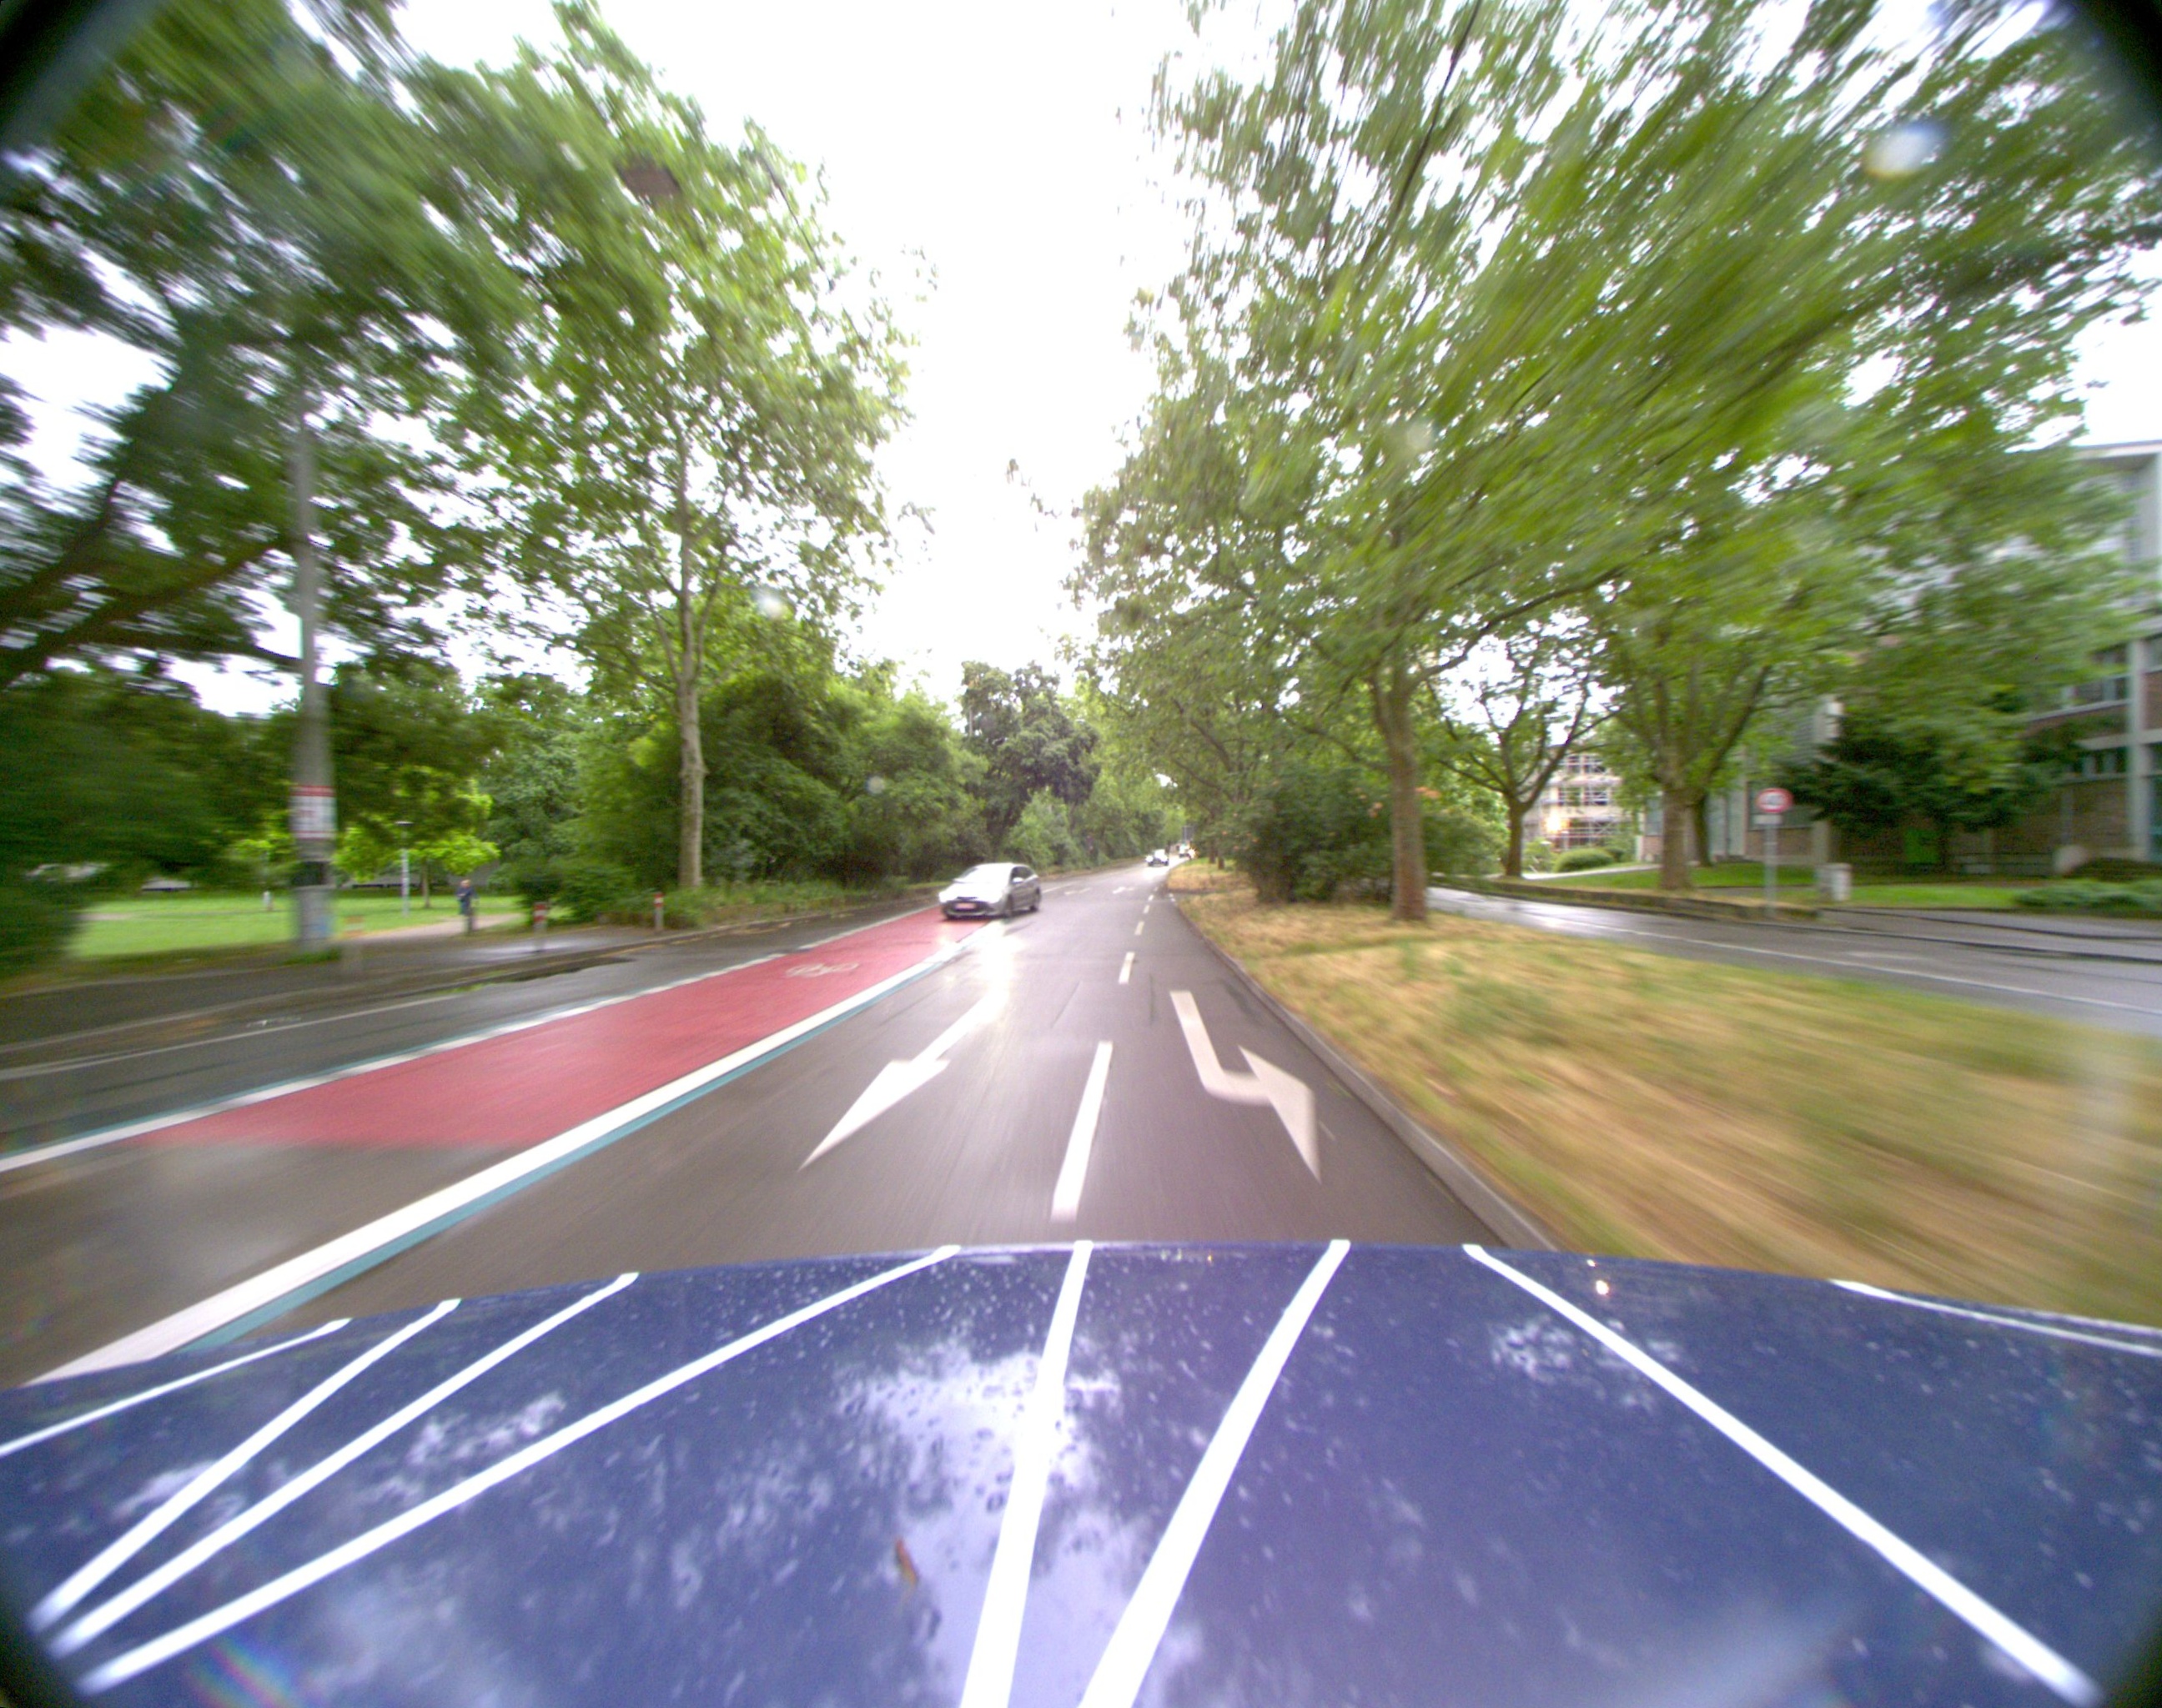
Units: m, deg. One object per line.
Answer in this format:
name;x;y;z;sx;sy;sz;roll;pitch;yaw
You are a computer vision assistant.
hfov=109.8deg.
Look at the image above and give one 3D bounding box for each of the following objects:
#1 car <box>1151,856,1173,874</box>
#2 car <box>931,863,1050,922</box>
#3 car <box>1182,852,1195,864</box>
car;8.425;1.114;78.885;1.832;1.599;4.580;-2;1;12
car;-2.404;1.018;21.469;1.865;1.441;4.408;-1;0;14
car;17.890;0.620;126.787;1.883;1.865;4.745;-3;0;10
